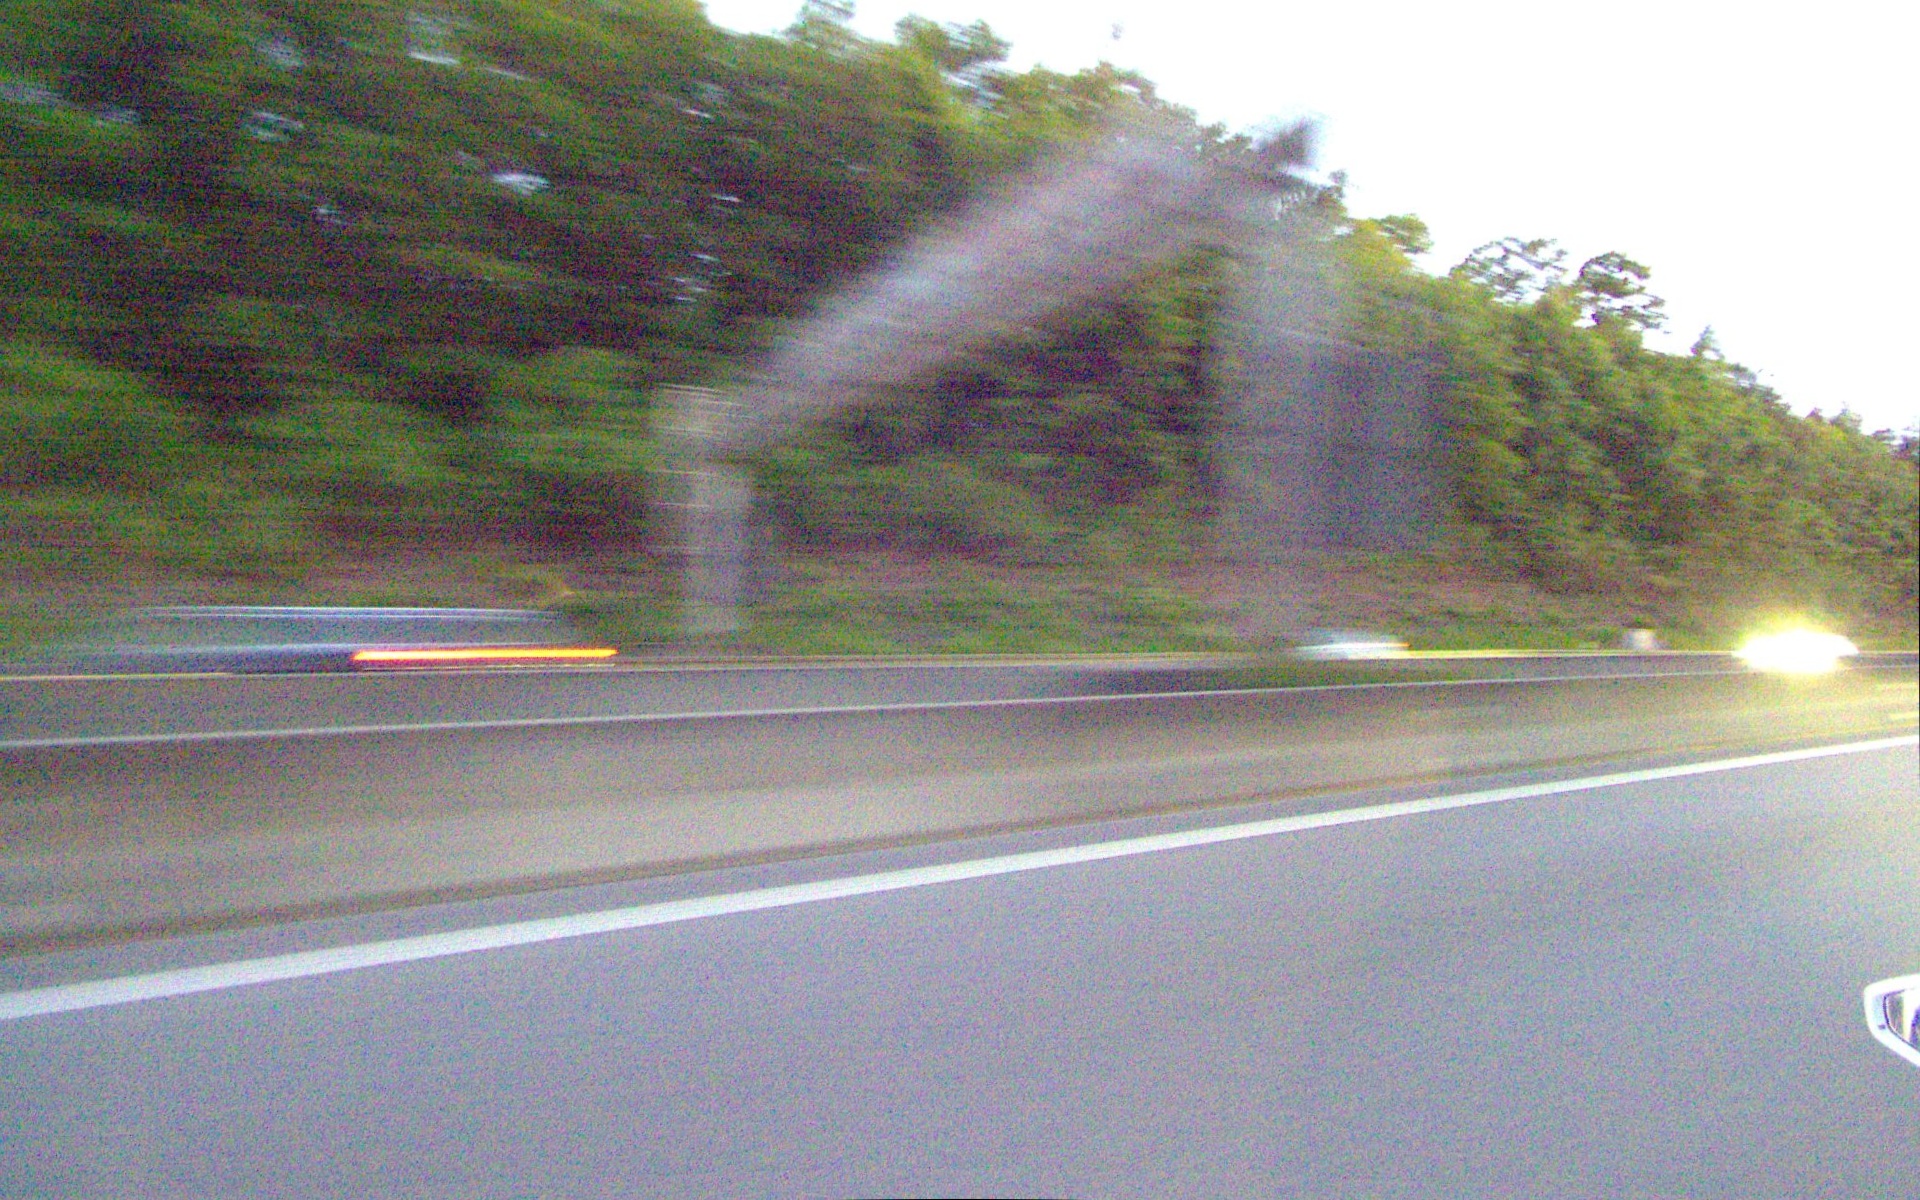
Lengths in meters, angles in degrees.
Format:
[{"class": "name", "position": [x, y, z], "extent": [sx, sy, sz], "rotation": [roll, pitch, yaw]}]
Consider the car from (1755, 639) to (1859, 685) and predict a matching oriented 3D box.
[{"class": "car", "position": [35.777, 2.564, 42.403], "extent": [4.951, 1.789, 1.907], "rotation": [1, -1, -31]}]

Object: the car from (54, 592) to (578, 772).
[{"class": "car", "position": [-7.418, 0.883, 12.154], "extent": [4.953, 1.789, 1.906], "rotation": [1, -1, -32]}]

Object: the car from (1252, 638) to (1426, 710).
[{"class": "car", "position": [10.422, 1.953, 27.503], "extent": [4.954, 1.789, 1.906], "rotation": [1, -1, -33]}]
